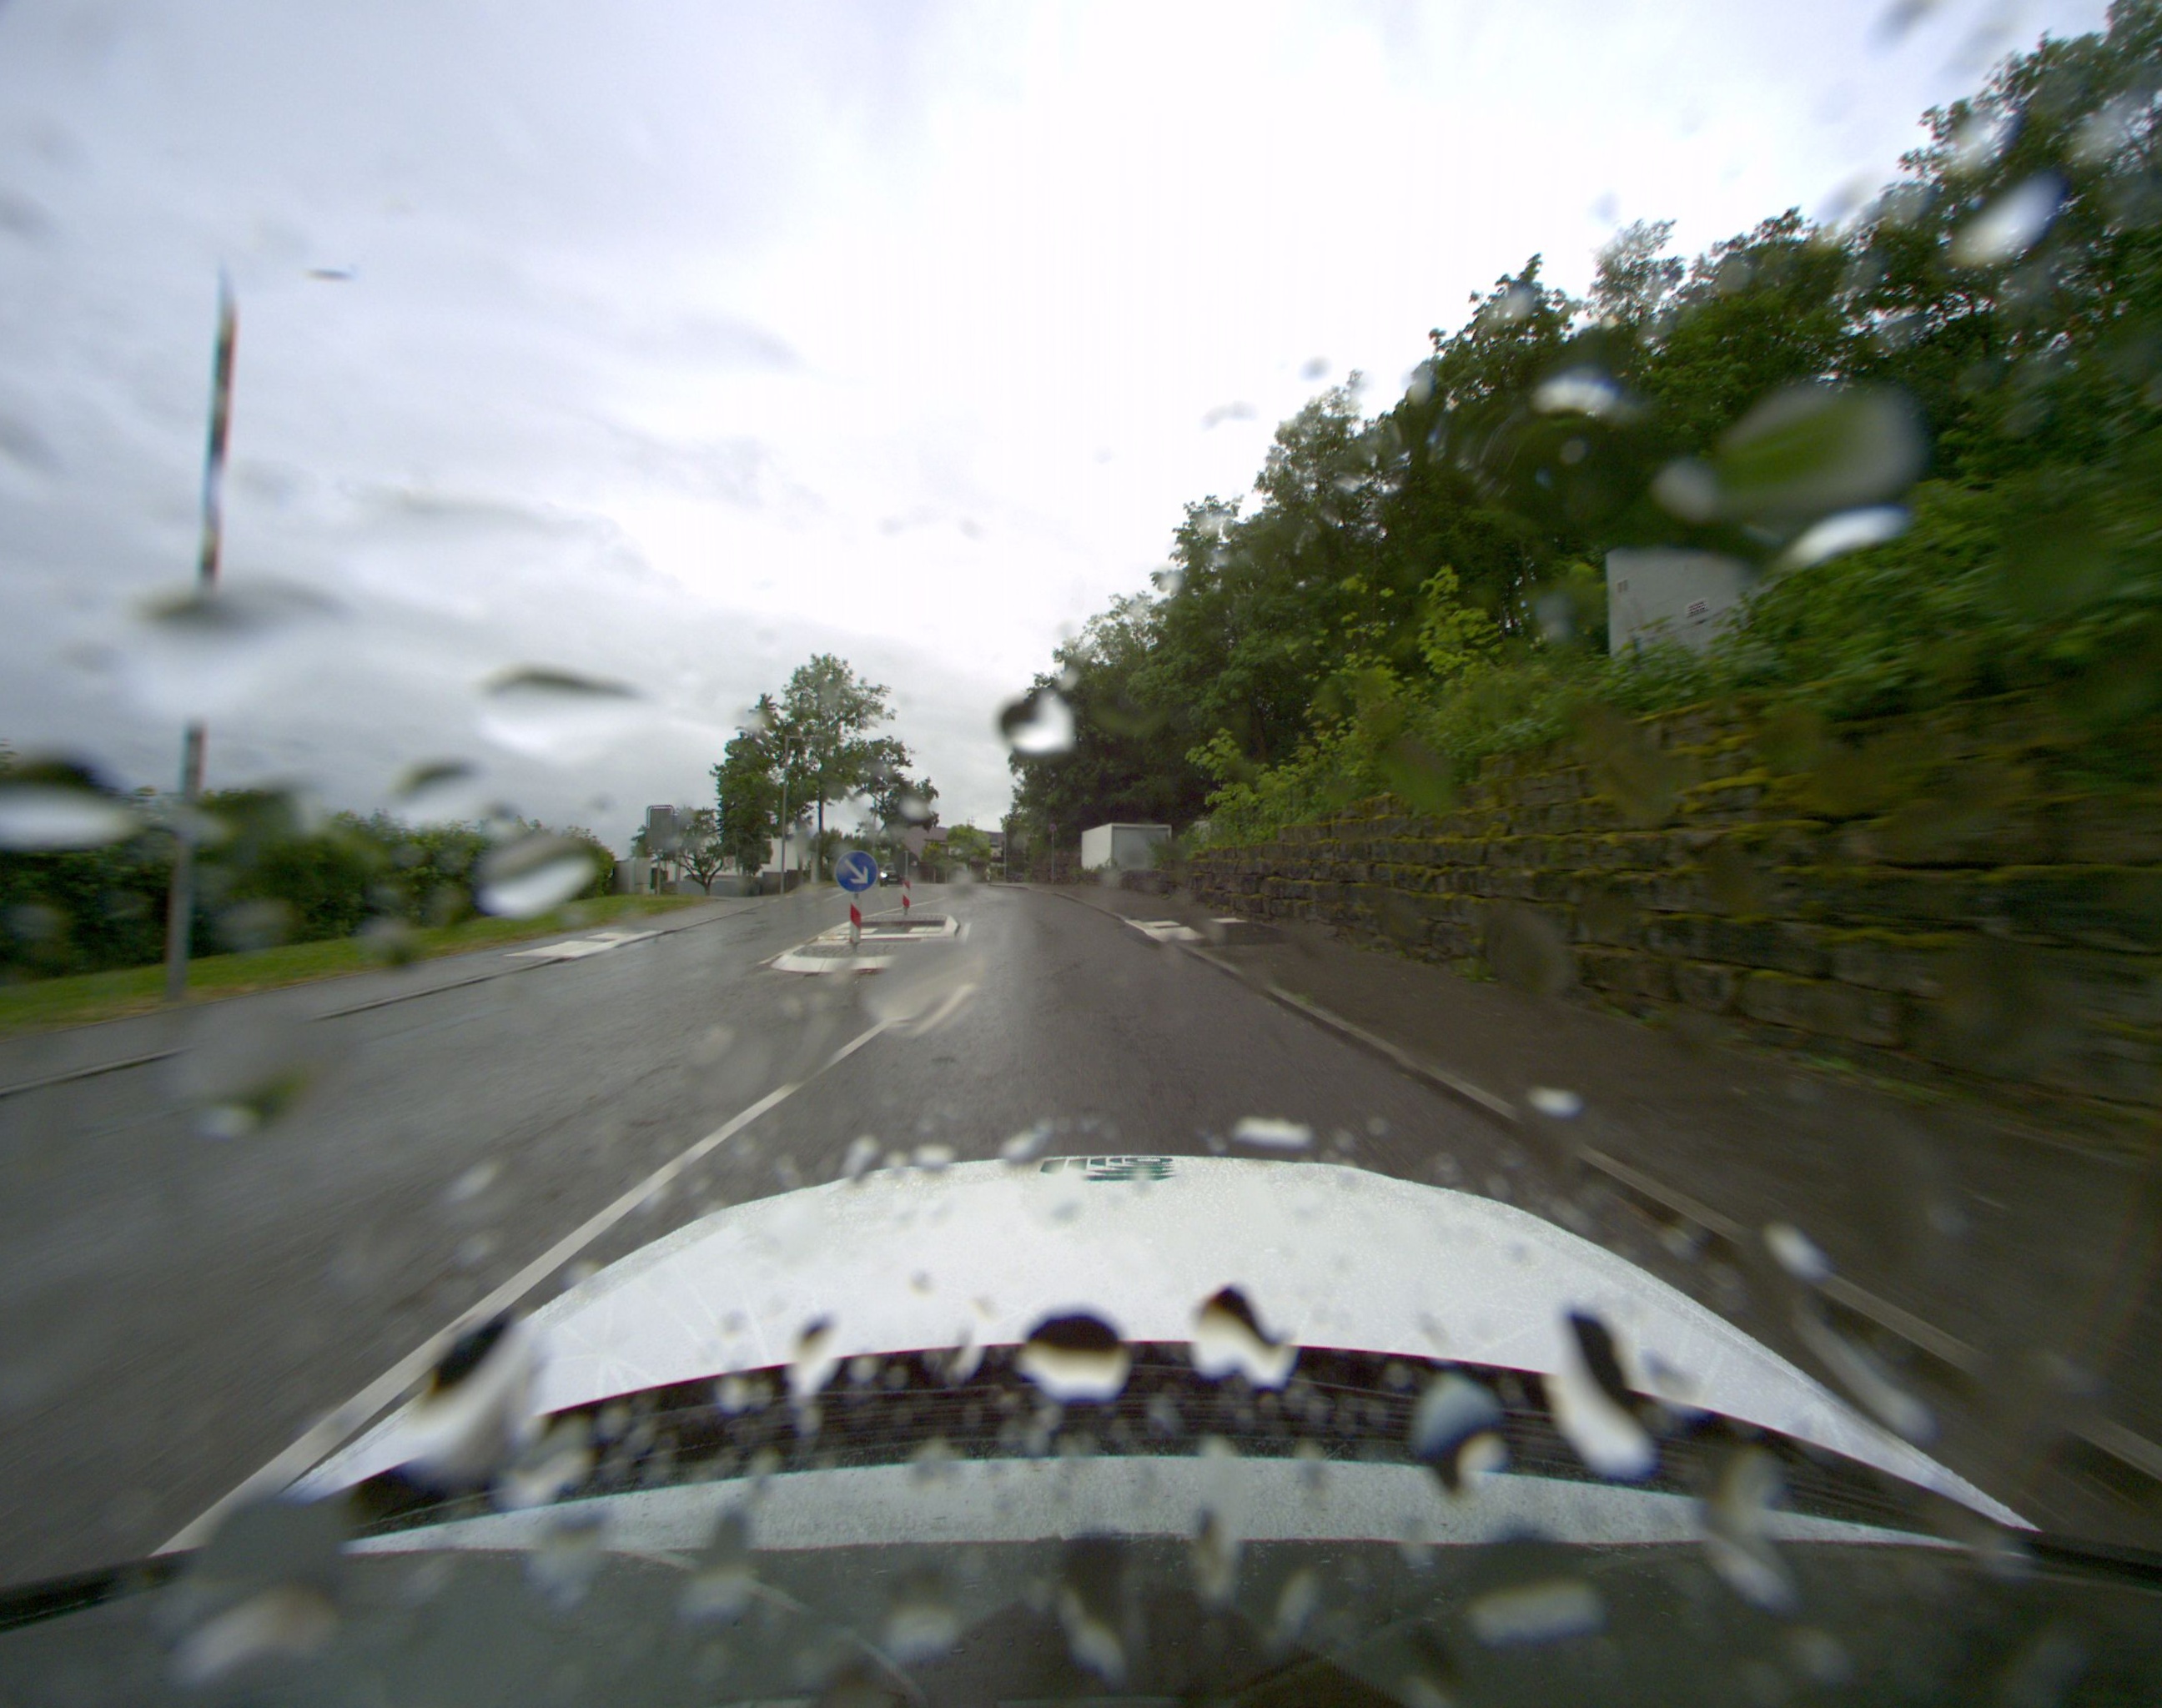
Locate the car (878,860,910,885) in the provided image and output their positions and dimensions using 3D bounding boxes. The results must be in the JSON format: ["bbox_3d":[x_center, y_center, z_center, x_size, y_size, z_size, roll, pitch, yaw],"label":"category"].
[{"bbox_3d":[-11.958,1.173,52.325,1.833,1.520,4.608,-2,-1,-11],"label":"car"}]

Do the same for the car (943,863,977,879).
[{"bbox_3d":[-14.183,1.982,95.473,2.025,1.632,3.951,4,-2,-44],"label":"car"}]

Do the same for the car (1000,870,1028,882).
[{"bbox_3d":[-8.617,2.759,103.878,1.946,1.389,3.960,4,-3,-31],"label":"car"}]
